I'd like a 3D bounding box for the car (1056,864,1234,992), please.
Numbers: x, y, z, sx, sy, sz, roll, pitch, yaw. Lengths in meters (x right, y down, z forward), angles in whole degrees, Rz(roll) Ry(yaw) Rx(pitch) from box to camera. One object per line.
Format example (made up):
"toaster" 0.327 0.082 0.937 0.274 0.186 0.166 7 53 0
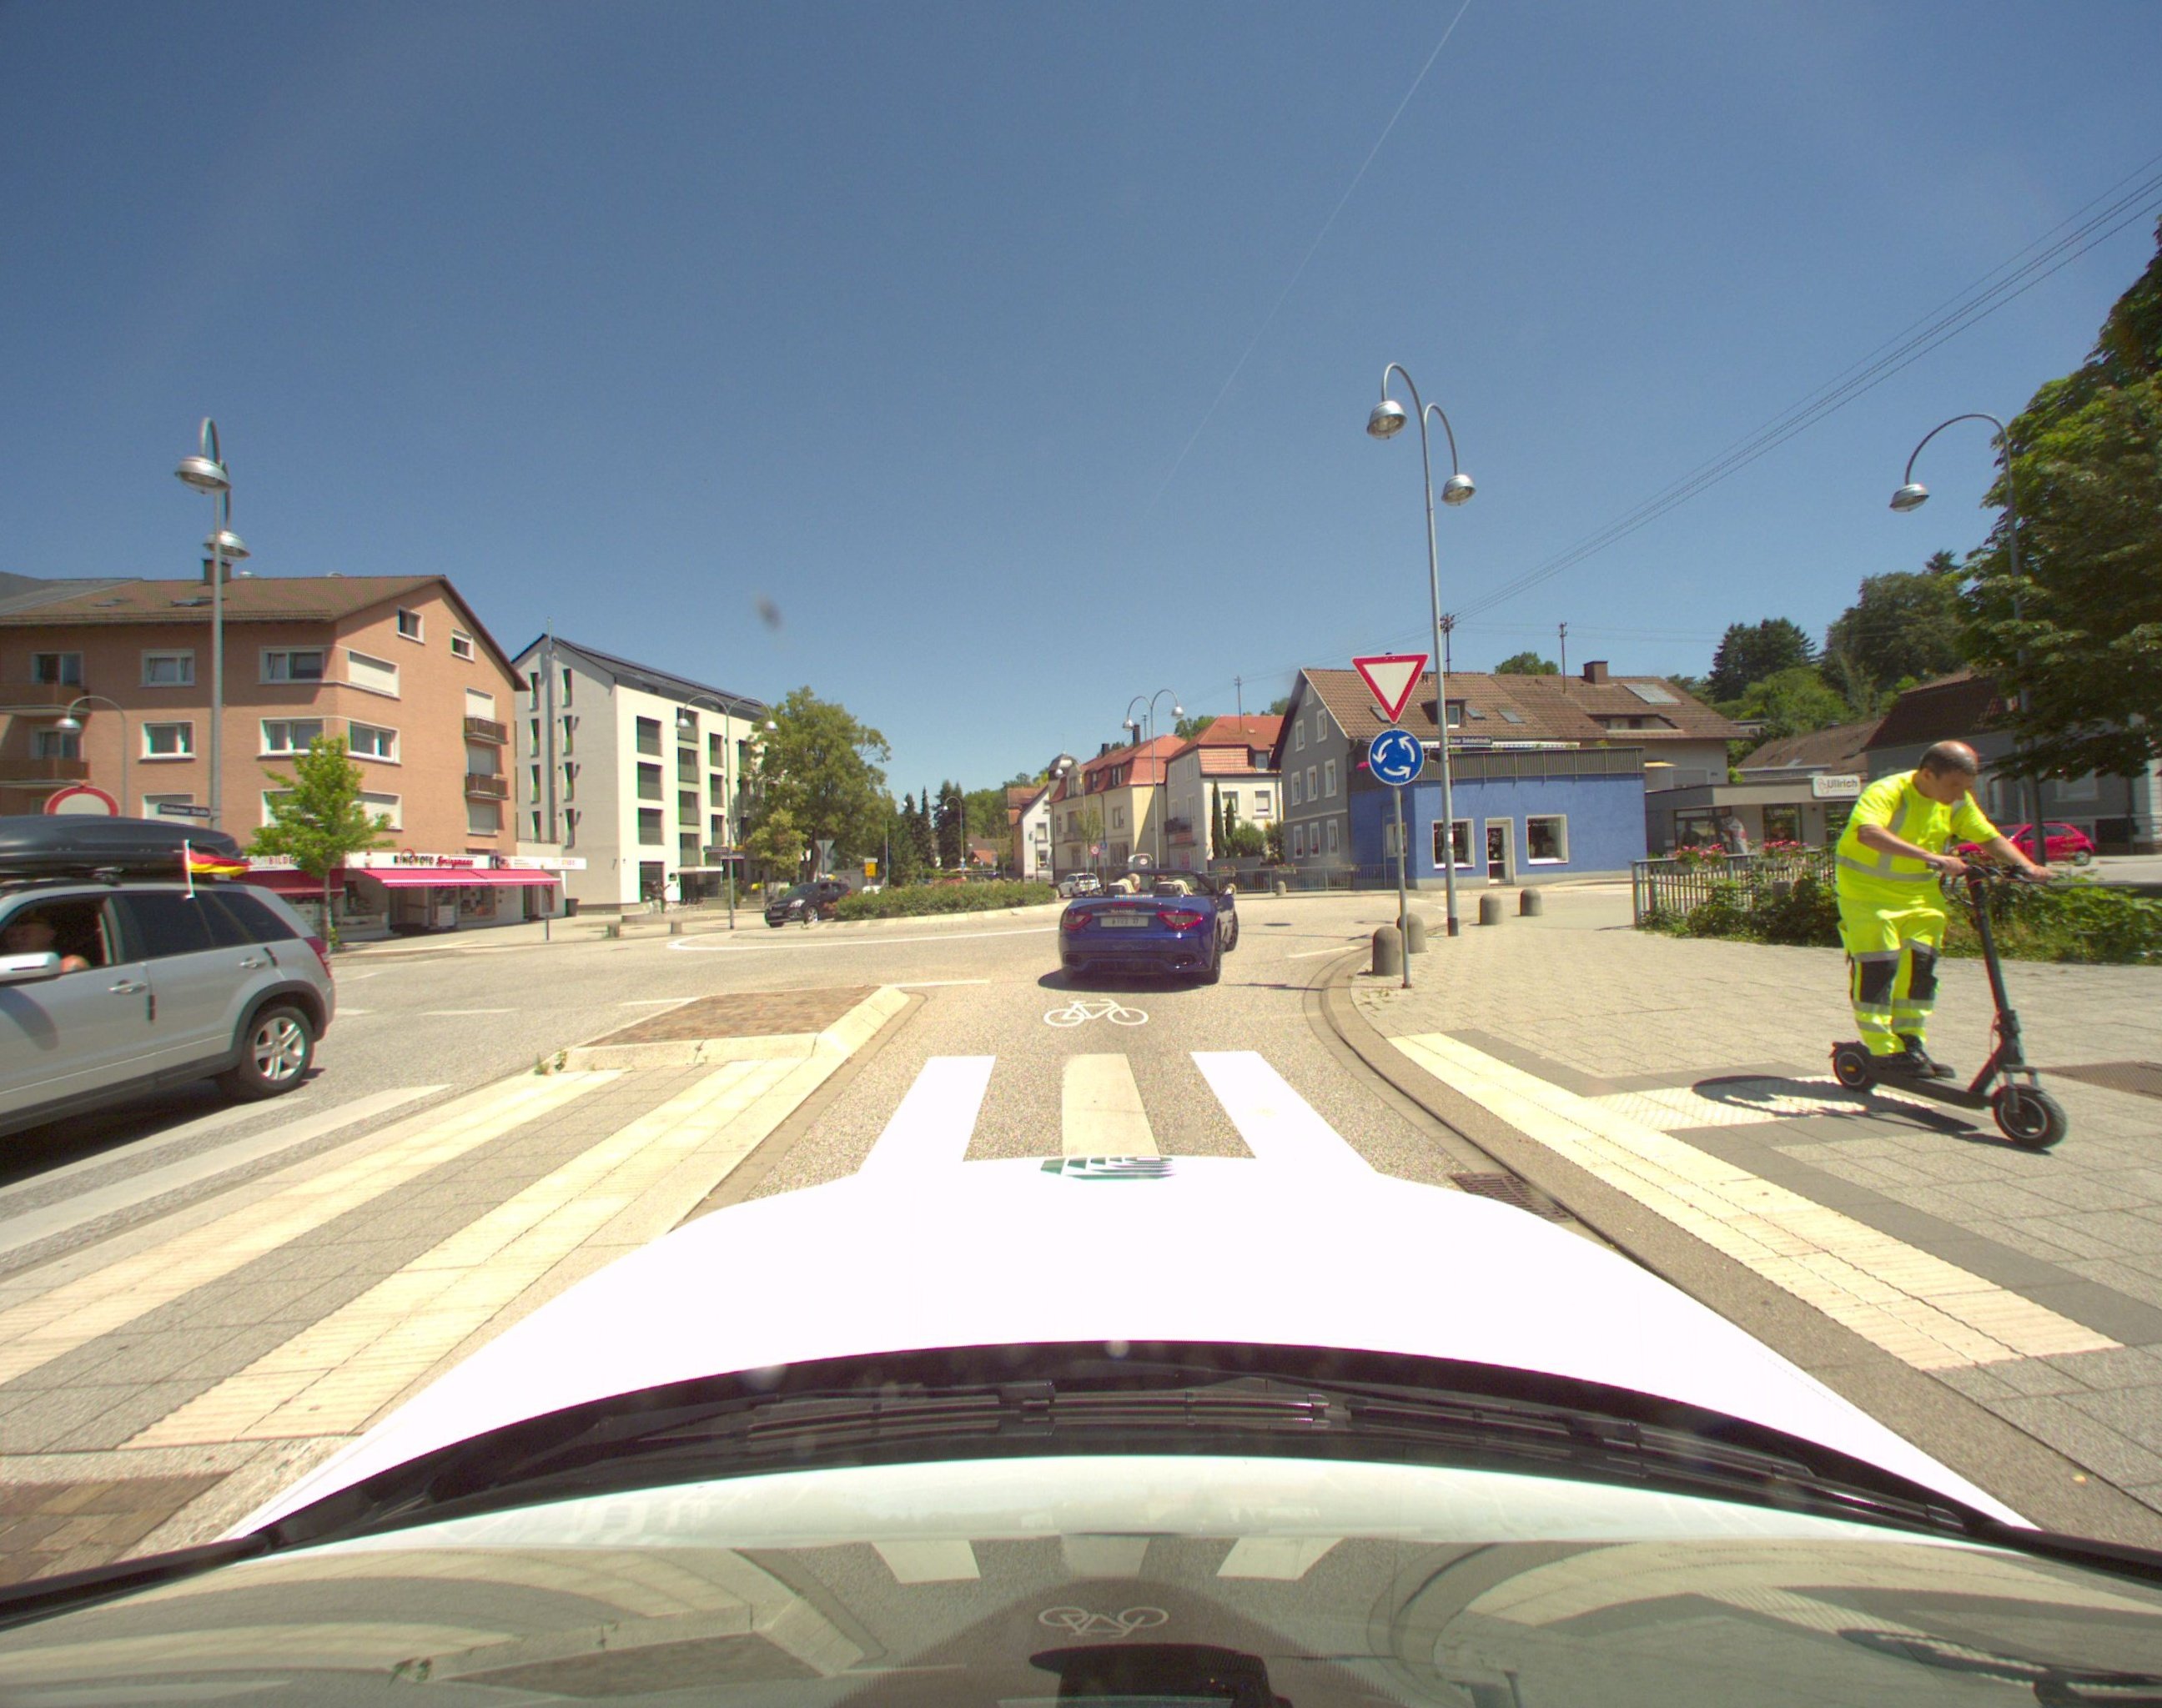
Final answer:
"car" 0.825 0.847 11.023 1.902 1.360 4.289 -1 -1 3

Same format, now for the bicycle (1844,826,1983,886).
"bicycle" 16.675 0.040 16.353 1.832 1.083 0.749 -3 -1 9

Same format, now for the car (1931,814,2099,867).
"car" 31.897 -0.422 27.887 3.656 1.552 1.776 -3 -2 -1

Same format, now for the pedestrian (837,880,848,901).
"pedestrian" -18.149 2.789 61.874 0.531 1.576 0.564 -3 -1 13

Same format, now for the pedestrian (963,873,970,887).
"pedestrian" -12.940 2.918 91.896 0.614 1.585 0.582 -2 -1 -25

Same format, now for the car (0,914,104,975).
"car" -34.639 2.965 26.049 3.993 1.750 1.793 -3 -1 -15

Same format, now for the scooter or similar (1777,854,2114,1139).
"scooter or similar" 4.273 0.627 4.159 0.525 1.222 1.244 -3 -1 13

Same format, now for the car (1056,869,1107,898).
"car" -0.008 1.880 50.705 1.924 1.613 4.122 -2 -2 -18

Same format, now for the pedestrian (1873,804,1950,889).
"pedestrian" 16.656 -0.146 16.355 0.712 1.632 0.749 -3 -1 9

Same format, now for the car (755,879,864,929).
"car" -10.192 1.857 30.910 1.783 1.642 4.078 -3 -2 19

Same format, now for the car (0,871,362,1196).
"car" -6.688 1.005 4.743 1.833 1.688 4.184 -4 -1 -12

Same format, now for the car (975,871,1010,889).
"car" -8.522 2.525 78.294 1.861 1.588 3.963 -3 -1 -28

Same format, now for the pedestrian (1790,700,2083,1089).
"pedestrian" 4.341 0.201 4.212 0.673 1.799 0.742 -4 -1 18
